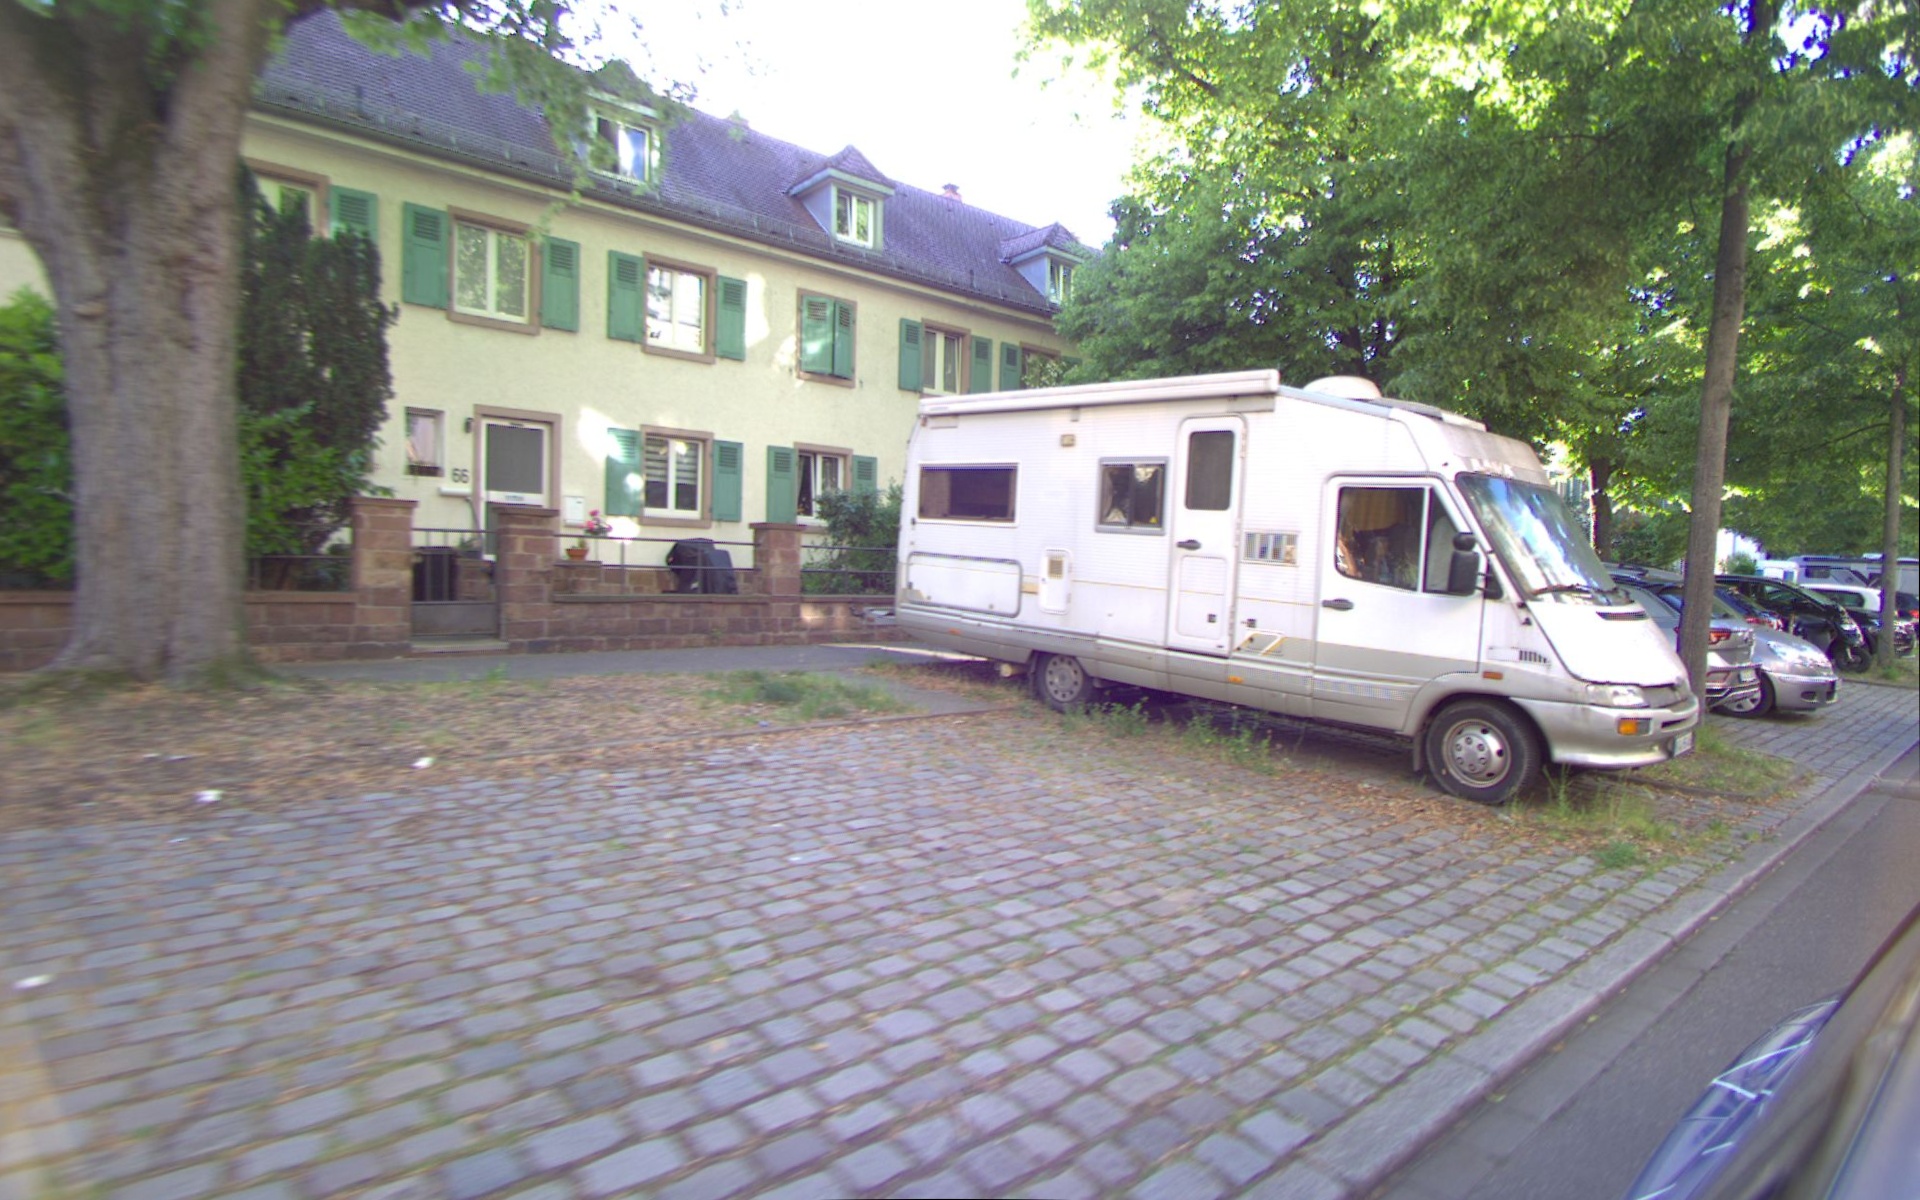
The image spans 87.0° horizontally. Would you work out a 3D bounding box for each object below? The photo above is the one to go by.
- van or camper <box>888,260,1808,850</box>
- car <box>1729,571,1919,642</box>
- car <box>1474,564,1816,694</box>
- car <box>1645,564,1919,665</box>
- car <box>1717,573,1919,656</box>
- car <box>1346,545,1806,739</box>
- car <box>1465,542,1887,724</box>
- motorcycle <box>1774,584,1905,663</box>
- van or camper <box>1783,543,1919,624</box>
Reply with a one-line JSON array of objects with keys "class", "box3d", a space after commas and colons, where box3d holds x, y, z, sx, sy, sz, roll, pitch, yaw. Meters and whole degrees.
[{"class": "van or camper", "box3d": [2.549, -0.381, 8.795, 2.423, 3.115, 7.086, 0, 2, -43]}, {"class": "car", "box3d": [22.815, 0.128, 26.040, 1.721, 1.495, 4.470, 0, 4, -39]}, {"class": "car", "box3d": [9.984, 0.306, 14.937, 3.878, 1.490, 1.759, 6, 5, 45]}, {"class": "car", "box3d": [16.497, 0.193, 20.155, 1.895, 1.627, 4.342, -1, 4, -41]}, {"class": "car", "box3d": [18.583, 0.246, 21.692, 1.664, 1.493, 3.456, 0, 4, -40]}, {"class": "car", "box3d": [6.744, 0.290, 11.460, 1.868, 1.617, 3.976, -1, 6, -38]}, {"class": "car", "box3d": [8.733, 0.247, 12.637, 1.699, 1.765, 3.924, -1, 5, -40]}, {"class": "motorcycle", "box3d": [14.838, 0.367, 17.135, 0.725, 1.212, 1.774, 1, 2, 5]}, {"class": "van or camper", "box3d": [35.687, -0.647, 37.843, 2.385, 2.939, 7.263, -2, 3, -40]}]
